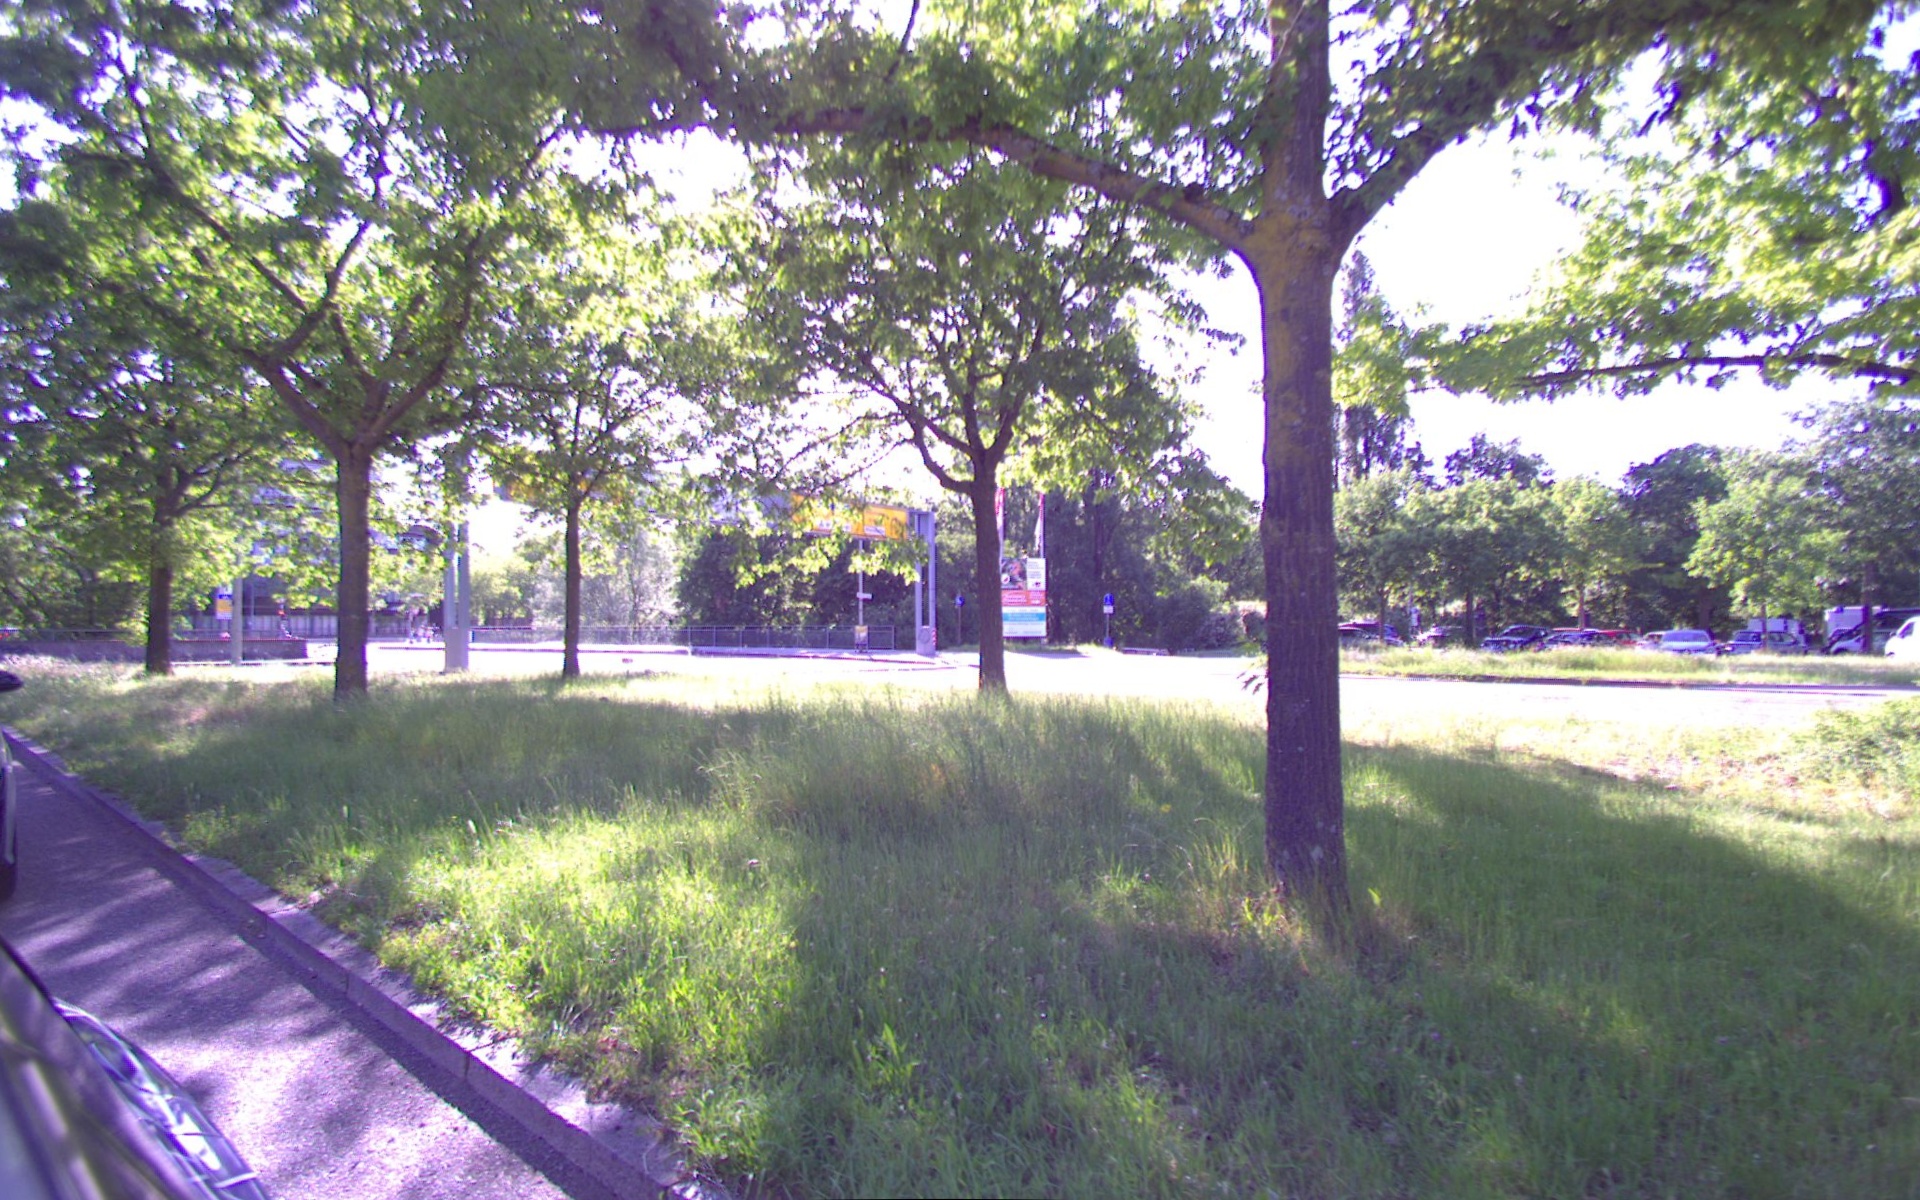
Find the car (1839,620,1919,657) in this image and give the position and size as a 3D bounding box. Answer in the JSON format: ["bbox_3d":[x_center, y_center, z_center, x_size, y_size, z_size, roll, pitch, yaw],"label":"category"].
[{"bbox_3d":[41.246,1.647,44.082,1.936,1.484,4.011,-2,0,-33],"label":"car"}]

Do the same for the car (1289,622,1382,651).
[{"bbox_3d":[20.603,2.009,55.664,4.509,1.475,1.993,0,0,12],"label":"car"}]

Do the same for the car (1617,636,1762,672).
[{"bbox_3d":[25.243,1.845,35.194,3.990,1.137,1.801,-1,-2,35],"label":"car"}]

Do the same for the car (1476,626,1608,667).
[{"bbox_3d":[22.153,1.735,38.656,1.791,1.459,4.012,0,-1,-30],"label":"car"}]

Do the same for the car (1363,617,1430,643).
[{"bbox_3d":[31.431,2.177,72.882,4.126,1.814,1.976,-1,-2,35],"label":"car"}]

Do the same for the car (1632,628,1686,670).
[{"bbox_3d":[31.706,2.178,45.859,1.653,1.618,3.834,-2,1,40],"label":"car"}]

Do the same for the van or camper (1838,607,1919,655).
[{"bbox_3d":[42.993,1.388,45.852,1.966,2.112,4.414,1,-2,-32],"label":"van or camper"}]

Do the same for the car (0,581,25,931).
[{"bbox_3d":[-6.306,0.722,5.214,3.978,1.563,1.757,-1,-2,41],"label":"car"}]

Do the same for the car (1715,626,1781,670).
[{"bbox_3d":[34.402,2.062,44.146,3.827,1.618,1.656,-3,1,-43],"label":"car"}]

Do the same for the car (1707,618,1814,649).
[{"bbox_3d":[41.405,1.730,52.396,1.969,1.521,4.005,1,-2,-41],"label":"car"}]

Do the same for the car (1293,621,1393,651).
[{"bbox_3d":[19.683,1.844,52.157,4.509,1.475,1.993,0,0,12],"label":"car"}]

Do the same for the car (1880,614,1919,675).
[{"bbox_3d":[32.692,1.459,32.771,2.219,2.029,4.974,-1,-1,15],"label":"car"}]
